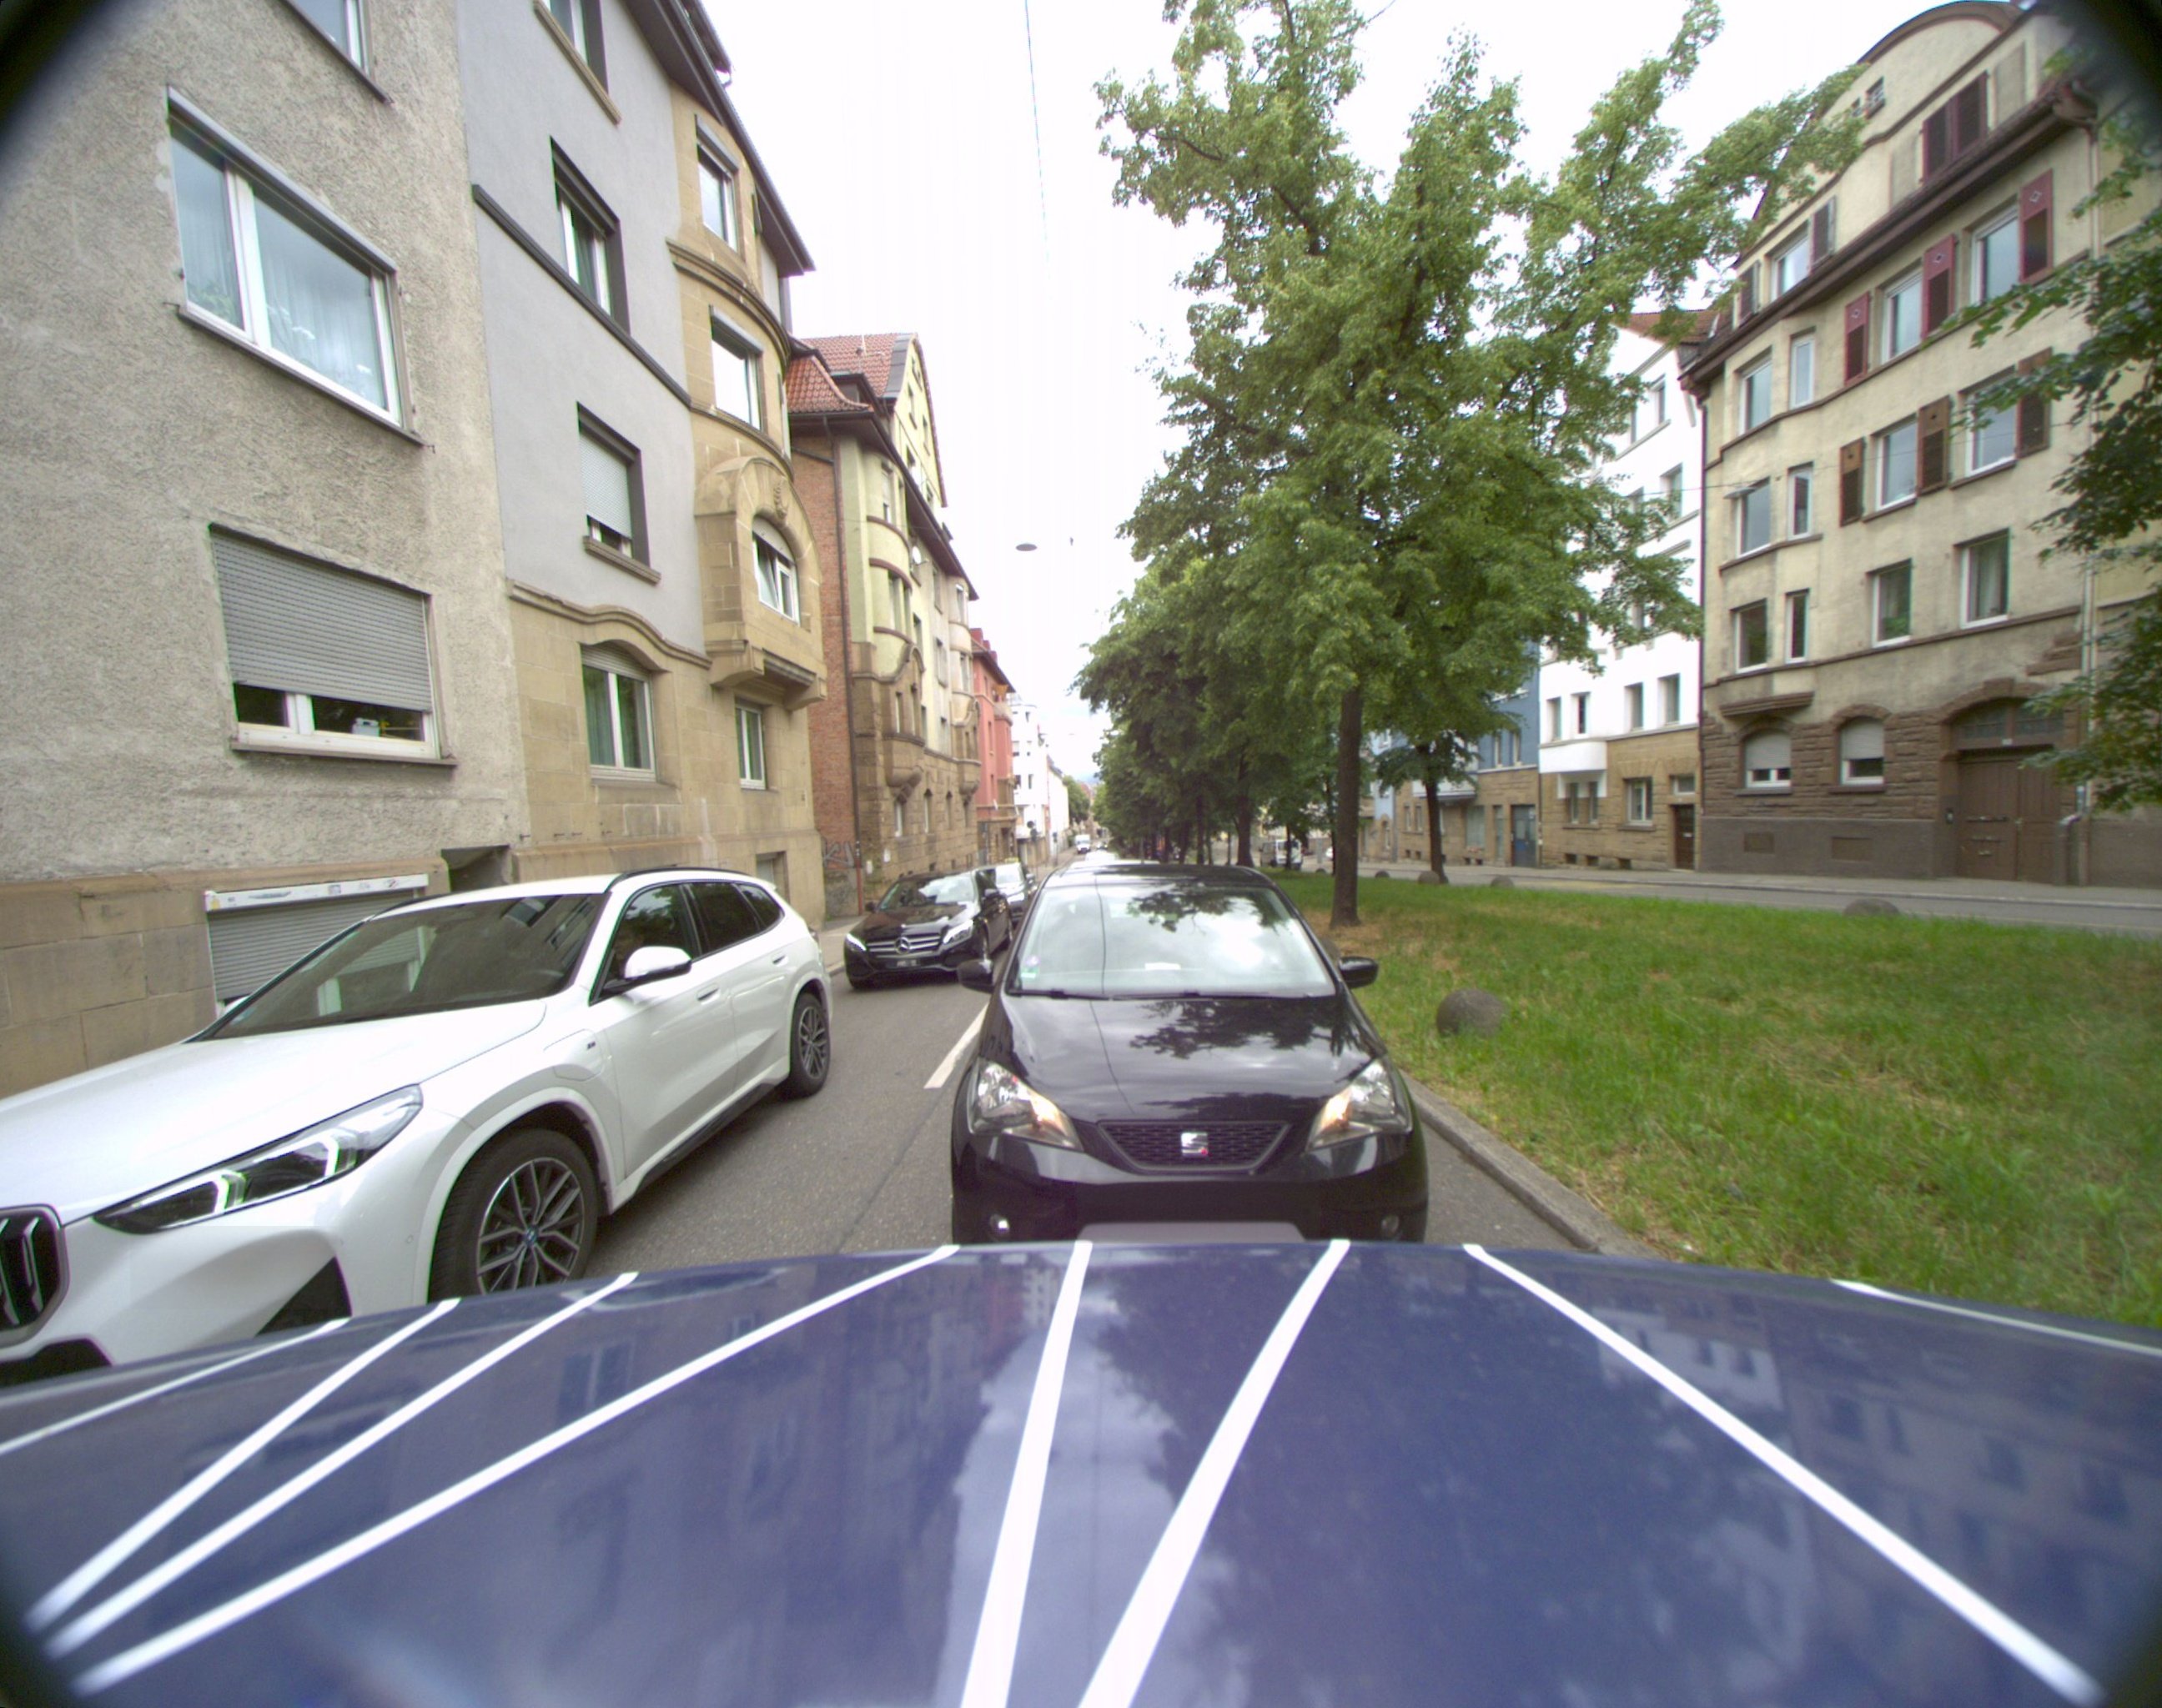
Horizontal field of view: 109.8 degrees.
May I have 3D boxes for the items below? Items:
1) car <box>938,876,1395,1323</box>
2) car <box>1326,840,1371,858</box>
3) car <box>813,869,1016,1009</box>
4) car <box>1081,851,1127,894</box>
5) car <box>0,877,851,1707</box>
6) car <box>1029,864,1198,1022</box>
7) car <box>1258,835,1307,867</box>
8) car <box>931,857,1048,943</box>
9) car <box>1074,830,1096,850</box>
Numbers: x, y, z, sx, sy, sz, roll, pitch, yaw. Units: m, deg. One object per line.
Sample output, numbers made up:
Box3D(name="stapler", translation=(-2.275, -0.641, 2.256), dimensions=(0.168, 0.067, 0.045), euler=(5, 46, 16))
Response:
Box3D(name="car", translation=(0.325, 0.928, 4.345), dimensions=(1.611, 1.457, 3.296), euler=(0, 1, 1))
Box3D(name="car", translation=(22.208, -0.442, 63.113), dimensions=(3.291, 1.323, 1.672), euler=(-2, 1, 10))
Box3D(name="car", translation=(-2.178, 1.062, 11.215), dimensions=(1.884, 1.369, 4.205), euler=(-6, 1, 1))
Box3D(name="car", translation=(0.868, 0.653, 29.594), dimensions=(1.607, 1.492, 3.737), euler=(-2, 1, 1))
Box3D(name="car", translation=(-2.799, 1.076, 3.705), dimensions=(1.859, 1.547, 4.350), euler=(-6, 1, 0))
Box3D(name="car", translation=(0.353, 0.927, 9.494), dimensions=(1.664, 1.456, 3.580), euler=(-2, 1, 1))
Box3D(name="car", translation=(13.471, -0.190, 51.126), dimensions=(1.998, 1.933, 5.307), euler=(-3, 0, 2))
Box3D(name="car", translation=(-1.992, 0.960, 17.858), dimensions=(1.936, 1.506, 4.303), euler=(-6, 1, 2))
Box3D(name="car", translation=(0.657, -2.163, 116.592), dimensions=(2.715, 2.879, 6.454), euler=(-2, 1, 4))
